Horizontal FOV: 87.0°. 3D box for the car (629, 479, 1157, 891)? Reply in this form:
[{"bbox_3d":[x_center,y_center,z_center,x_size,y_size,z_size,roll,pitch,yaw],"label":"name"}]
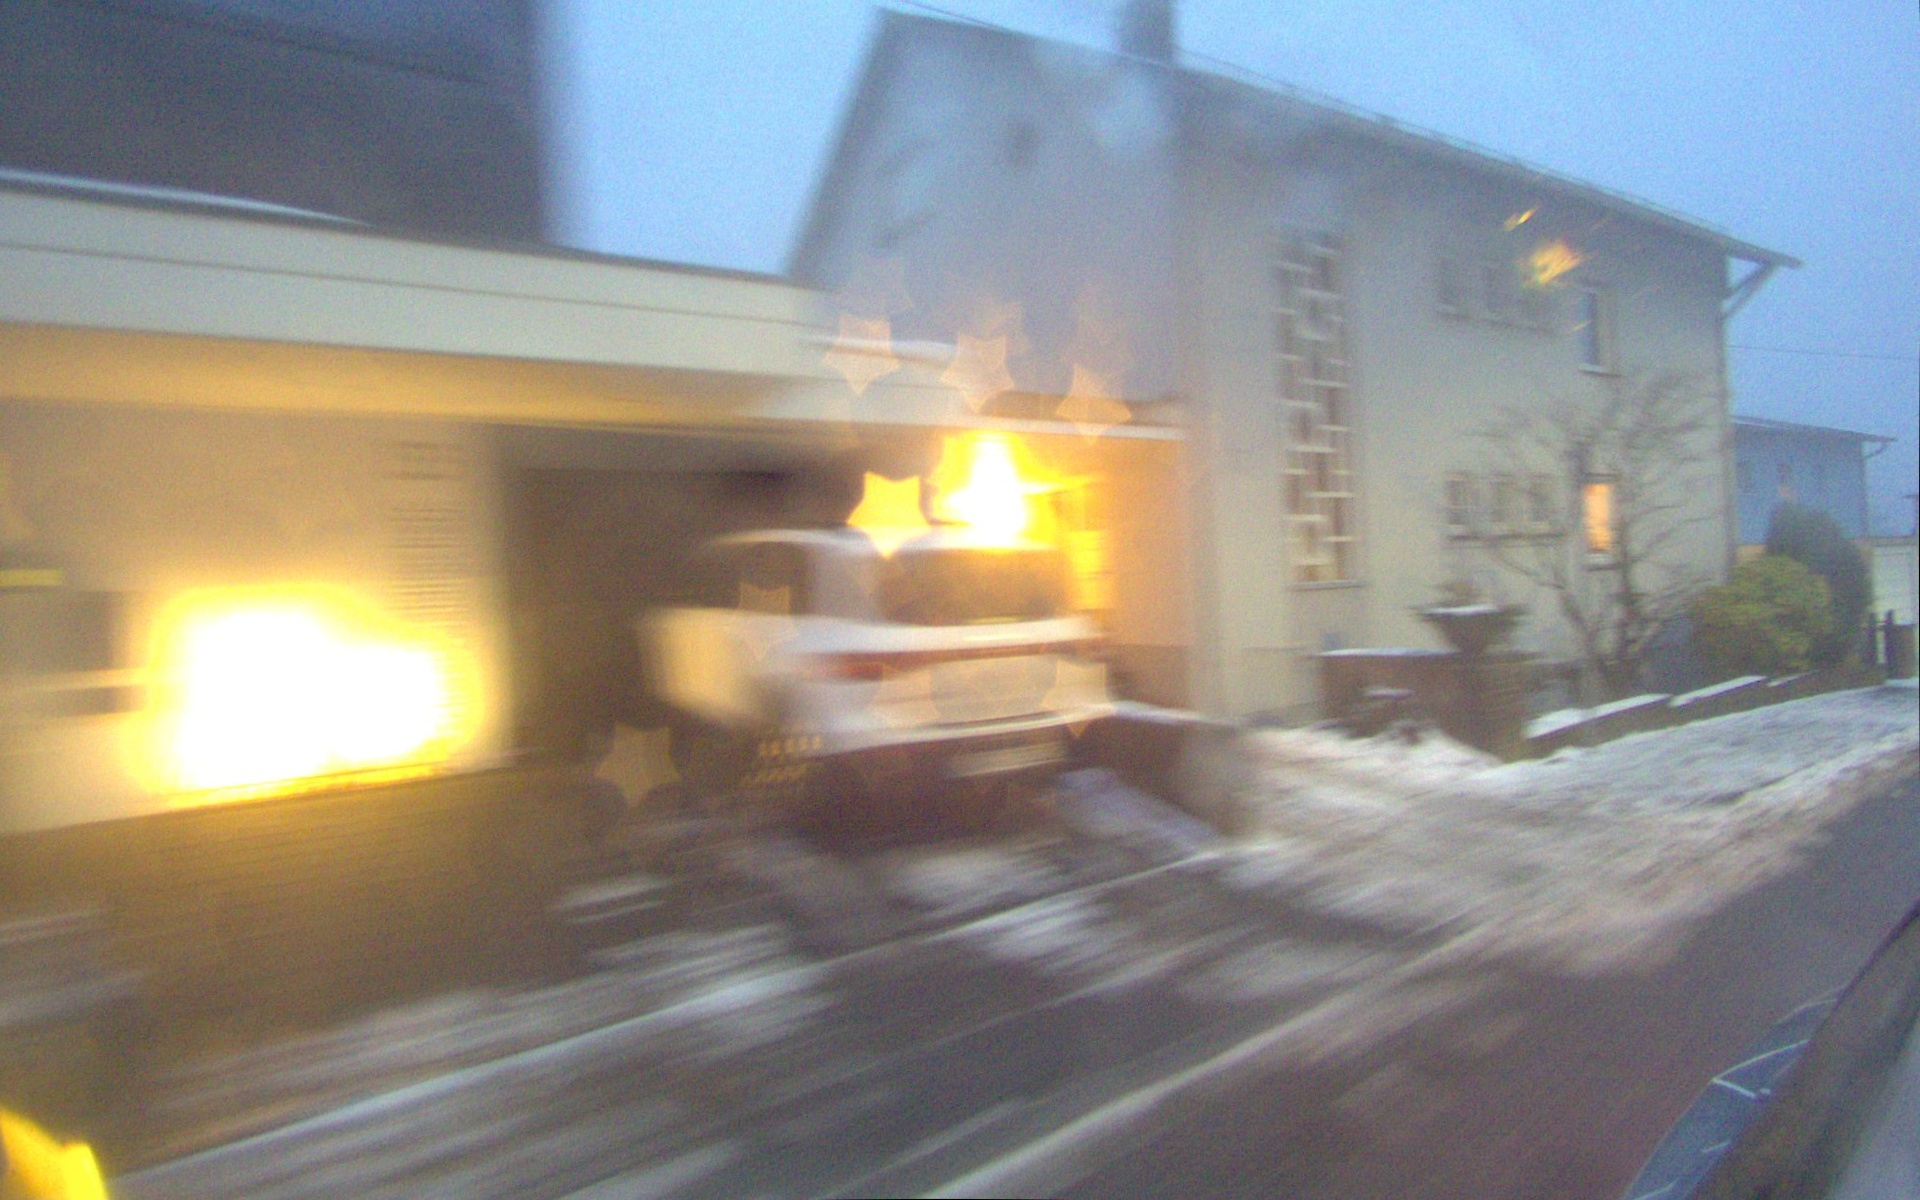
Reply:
[{"bbox_3d":[-0.802,0.354,6.916,1.874,1.881,4.223,-1,1,-31],"label":"car"}]
